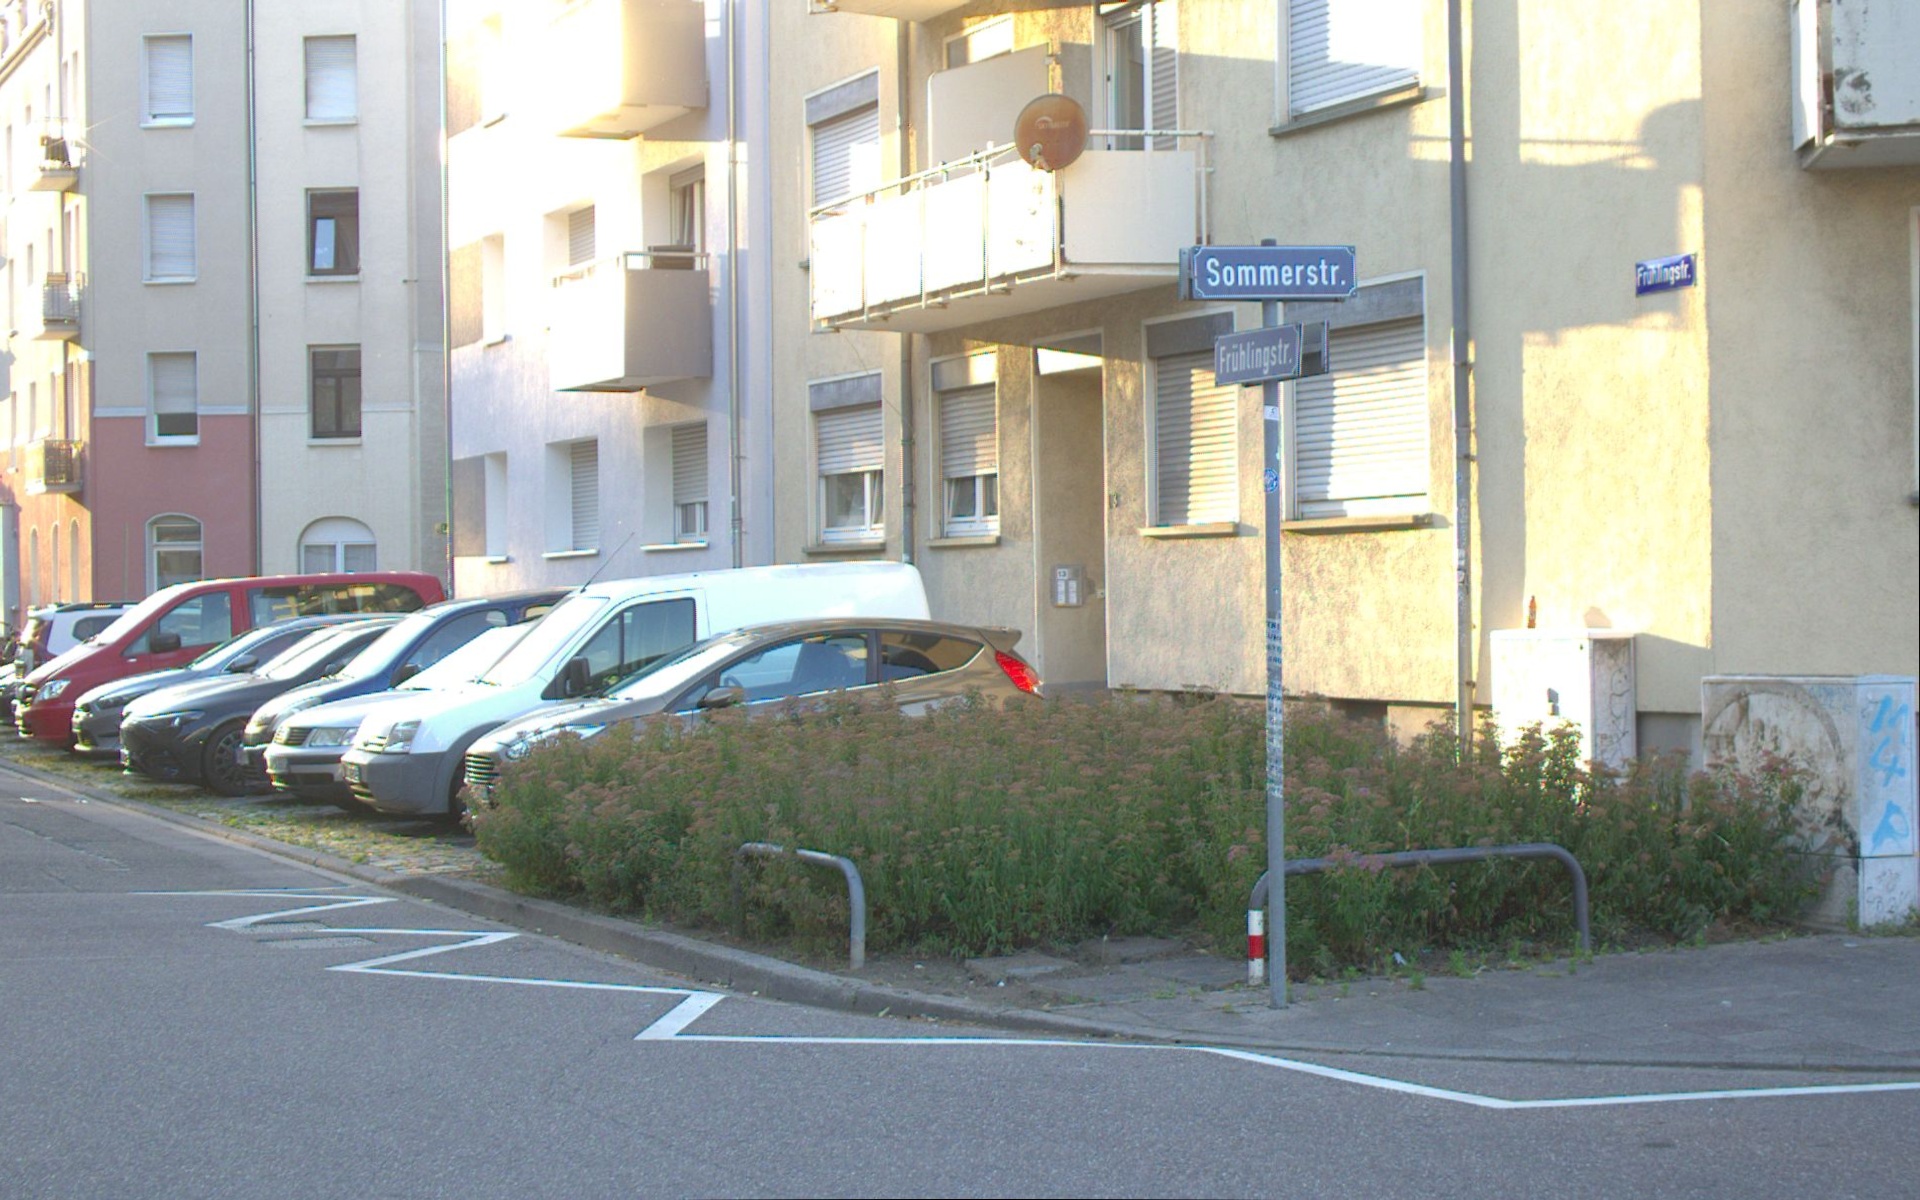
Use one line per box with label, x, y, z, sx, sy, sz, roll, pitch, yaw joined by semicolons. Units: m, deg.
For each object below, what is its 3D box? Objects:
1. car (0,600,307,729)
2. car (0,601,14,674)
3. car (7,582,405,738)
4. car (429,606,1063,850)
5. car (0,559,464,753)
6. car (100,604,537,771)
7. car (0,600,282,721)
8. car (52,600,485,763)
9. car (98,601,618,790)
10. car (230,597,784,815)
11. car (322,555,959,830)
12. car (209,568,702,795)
car;-10.332;0.793;43.316;3.811;1.423;1.635;-2;0;-23
car;-21.966;0.841;71.870;3.986;1.525;1.659;-2;1;-23
car;-9.017;0.700;41.109;4.323;1.632;1.818;-2;0;-23
car;-1.441;0.808;23.055;3.871;1.487;1.742;-1;0;-22
car;-8.142;0.595;38.364;4.721;1.903;2.059;-2;0;-23
car;-6.266;0.827;33.606;3.874;1.411;1.636;-2;0;-24
car;-11.111;0.790;45.721;3.811;1.423;1.635;-2;0;-23
car;-7.232;0.826;35.967;4.144;1.466;1.636;-2;0;-23
car;-5.416;0.825;30.938;4.308;1.445;1.655;-2;0;-22
car;-3.535;0.781;26.800;3.954;1.517;1.706;-1;0;-22
car;-2.329;0.631;25.063;4.278;1.854;1.742;-1;-1;-22
car;-4.276;0.657;29.120;3.790;1.690;1.655;-2;0;-22
